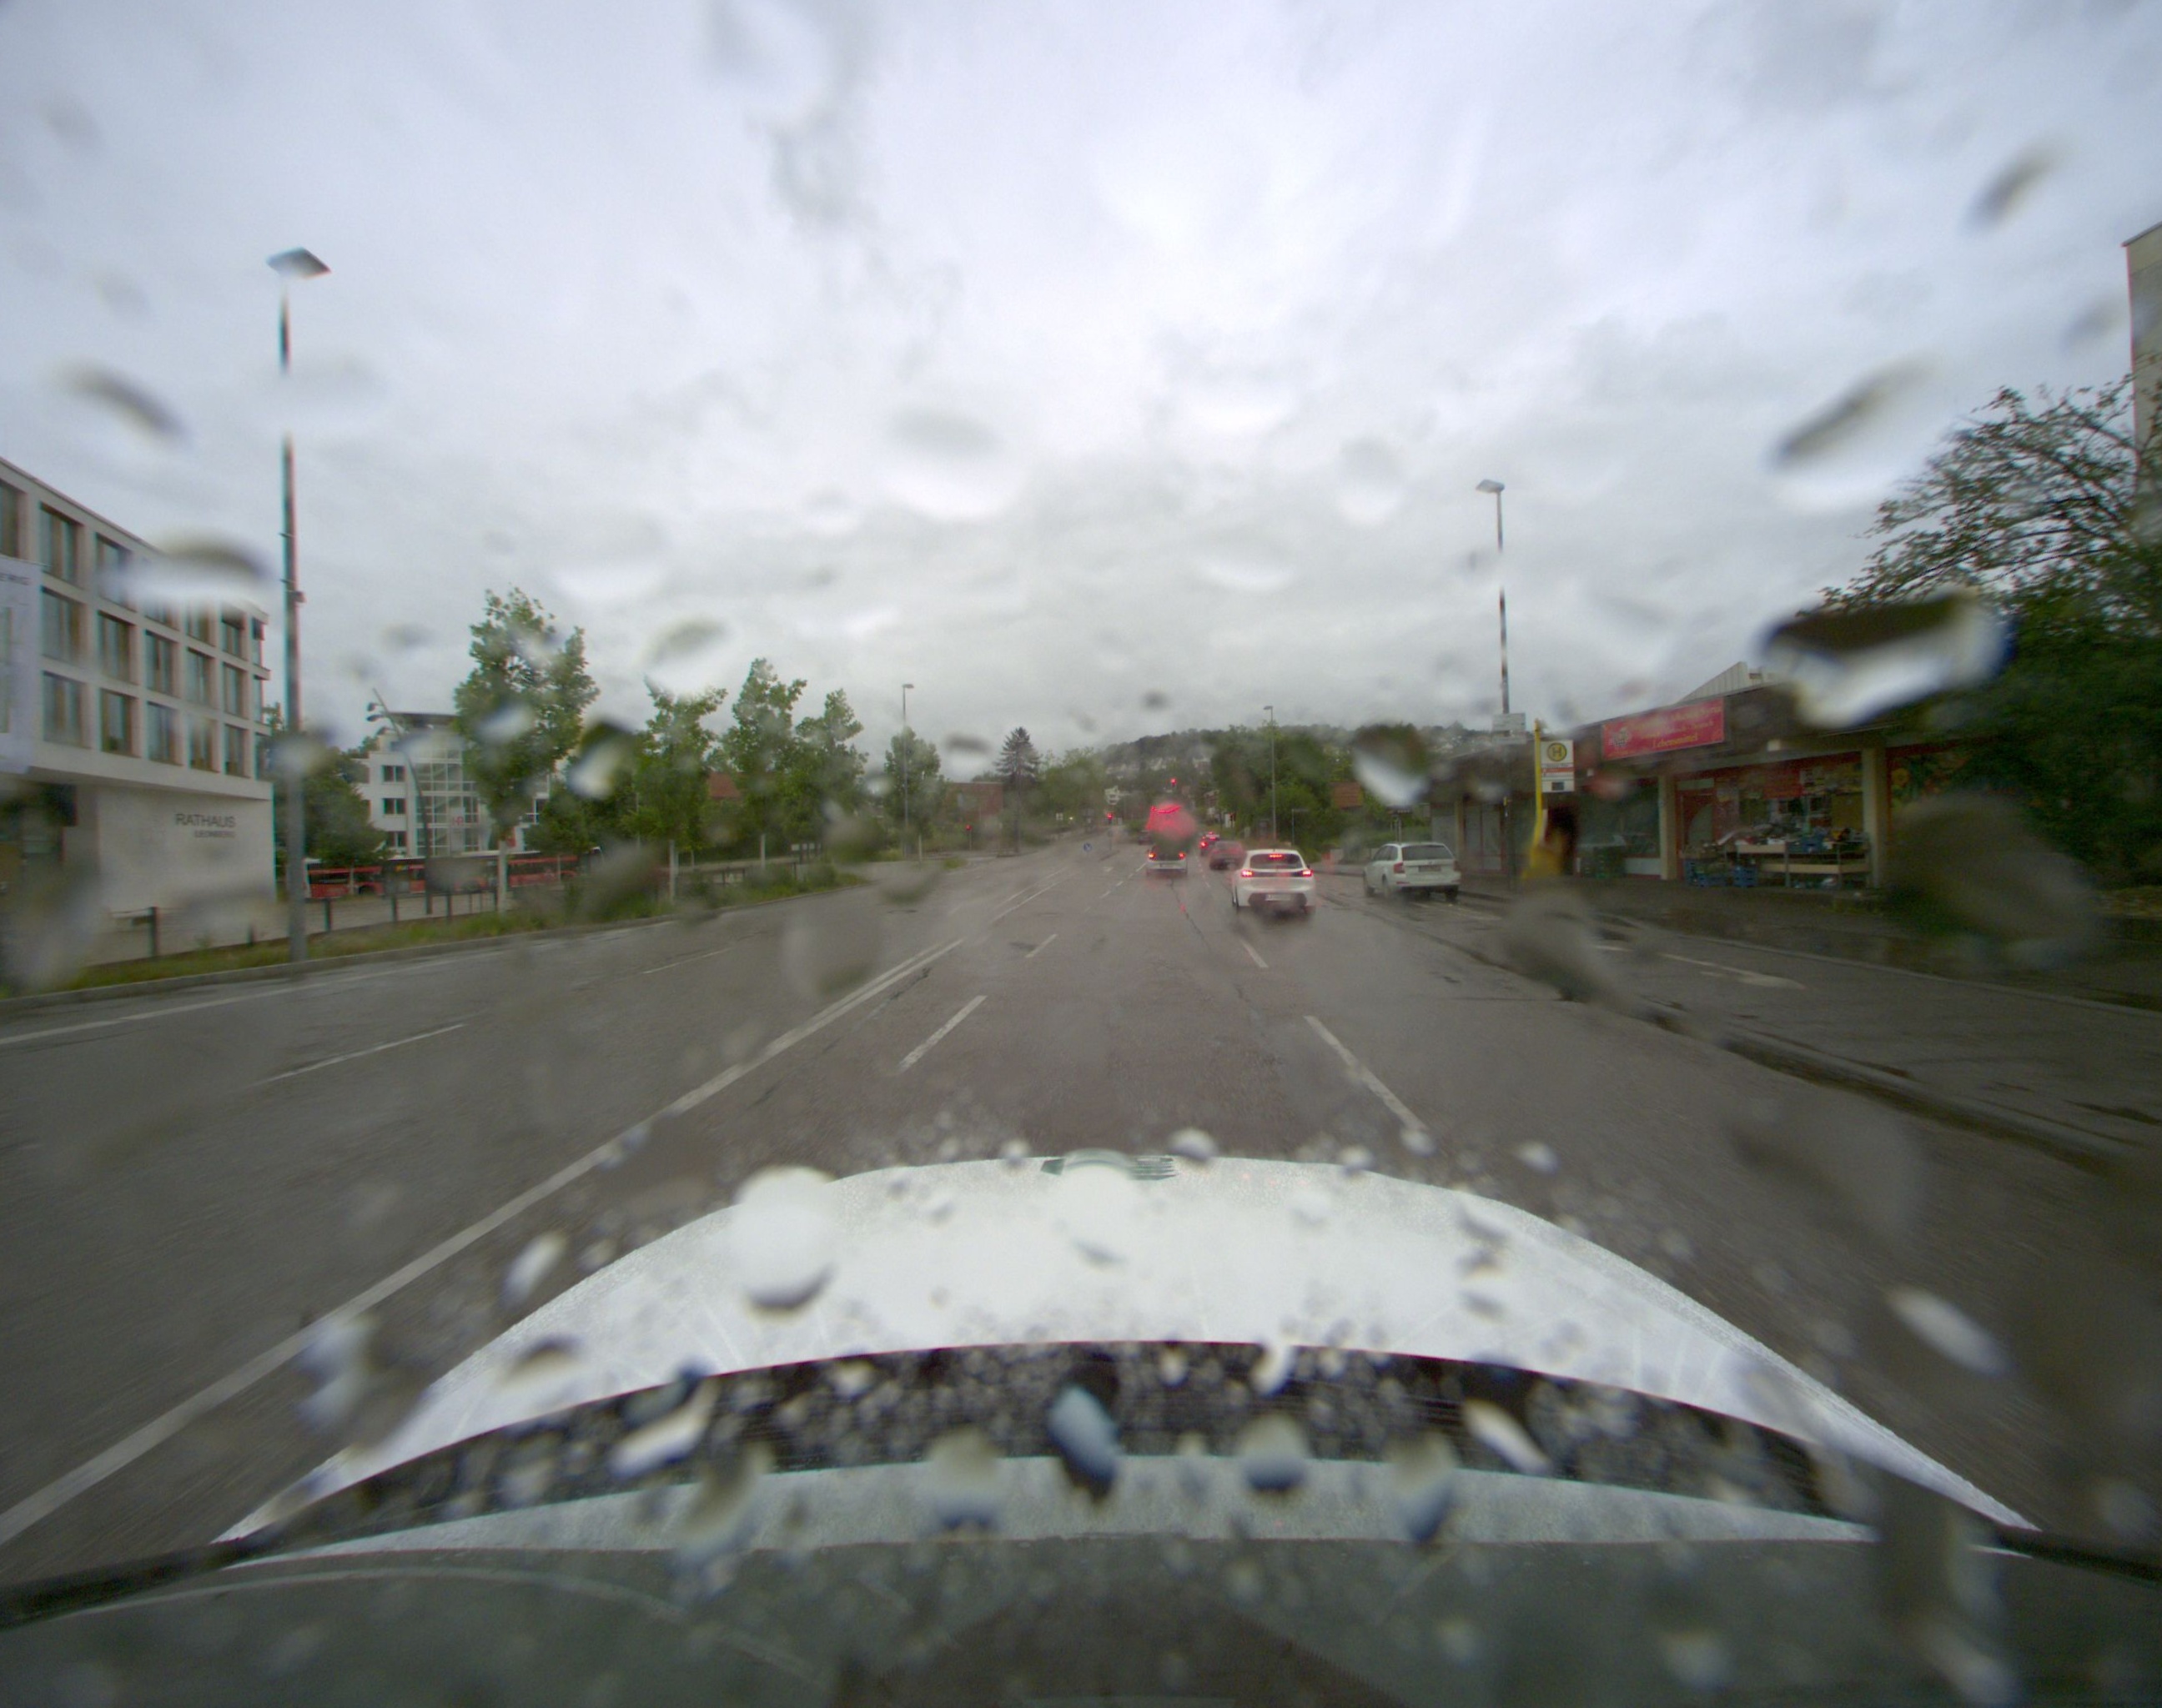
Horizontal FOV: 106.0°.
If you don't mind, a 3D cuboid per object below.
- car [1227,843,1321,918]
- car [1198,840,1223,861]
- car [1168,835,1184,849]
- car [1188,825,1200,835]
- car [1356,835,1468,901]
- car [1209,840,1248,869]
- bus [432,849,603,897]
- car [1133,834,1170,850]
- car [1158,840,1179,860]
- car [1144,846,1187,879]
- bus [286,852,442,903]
[{"bbox_3d":[4.368,0.529,18.946,1.682,1.519,3.941,-1,1,7],"label":"car"},{"bbox_3d":[9.943,-0.251,62.693,1.640,1.485,3.370,-3,-2,5],"label":"car"},{"bbox_3d":[8.881,-1.068,75.933,1.378,1.126,2.614,-3,-2,6],"label":"car"},{"bbox_3d":[15.342,-3.215,110.793,1.360,1.157,2.430,-2,-1,5],"label":"car"},{"bbox_3d":[8.681,0.292,21.738,1.720,1.497,4.492,-3,1,9],"label":"car"},{"bbox_3d":[7.790,-0.001,43.219,1.725,1.387,3.358,0,3,5],"label":"car"},{"bbox_3d":[-42.792,1.416,62.400,10.435,3.281,2.836,-2,-2,-28],"label":"bus"},{"bbox_3d":[7.694,-1.322,88.862,3.534,1.569,1.784,-2,-2,-28],"label":"car"},{"bbox_3d":[5.555,-0.218,51.903,1.207,1.156,2.272,-2,-2,4],"label":"car"},{"bbox_3d":[3.749,0.367,35.980,1.732,1.296,3.340,-3,-1,6],"label":"car"},{"bbox_3d":[-50.974,1.661,58.204,7.858,3.281,2.718,-2,-2,-27],"label":"bus"}]
